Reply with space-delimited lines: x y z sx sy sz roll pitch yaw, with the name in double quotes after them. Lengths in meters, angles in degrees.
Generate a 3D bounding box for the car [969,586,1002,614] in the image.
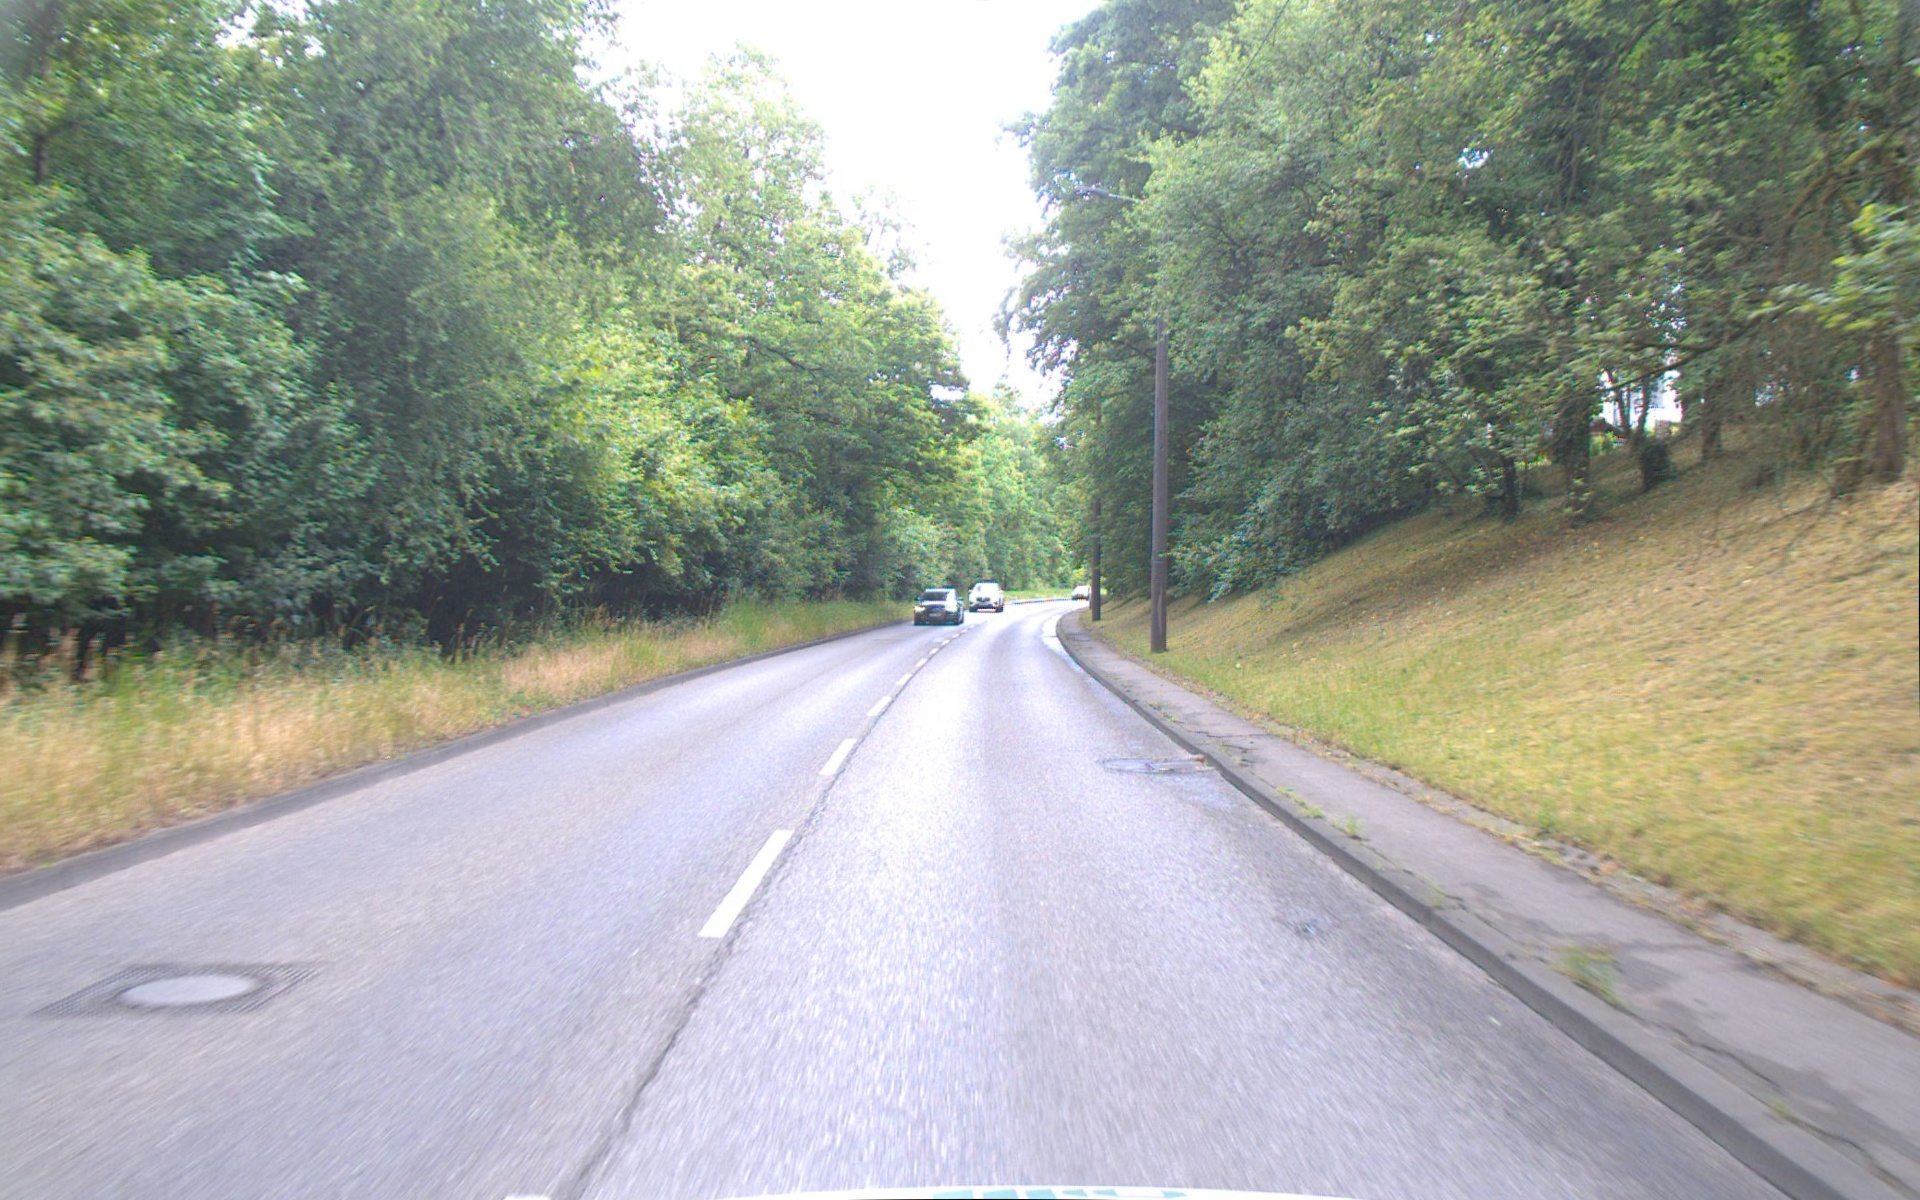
1.481 -0.029 97.772 1.902 1.609 4.441 0 0 0 "car"

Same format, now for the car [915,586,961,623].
-0.878 0.166 67.813 1.773 1.445 4.000 0 0 0 "car"

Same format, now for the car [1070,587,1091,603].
12.660 -0.535 174.181 1.952 1.569 4.000 0 0 0 "car"
